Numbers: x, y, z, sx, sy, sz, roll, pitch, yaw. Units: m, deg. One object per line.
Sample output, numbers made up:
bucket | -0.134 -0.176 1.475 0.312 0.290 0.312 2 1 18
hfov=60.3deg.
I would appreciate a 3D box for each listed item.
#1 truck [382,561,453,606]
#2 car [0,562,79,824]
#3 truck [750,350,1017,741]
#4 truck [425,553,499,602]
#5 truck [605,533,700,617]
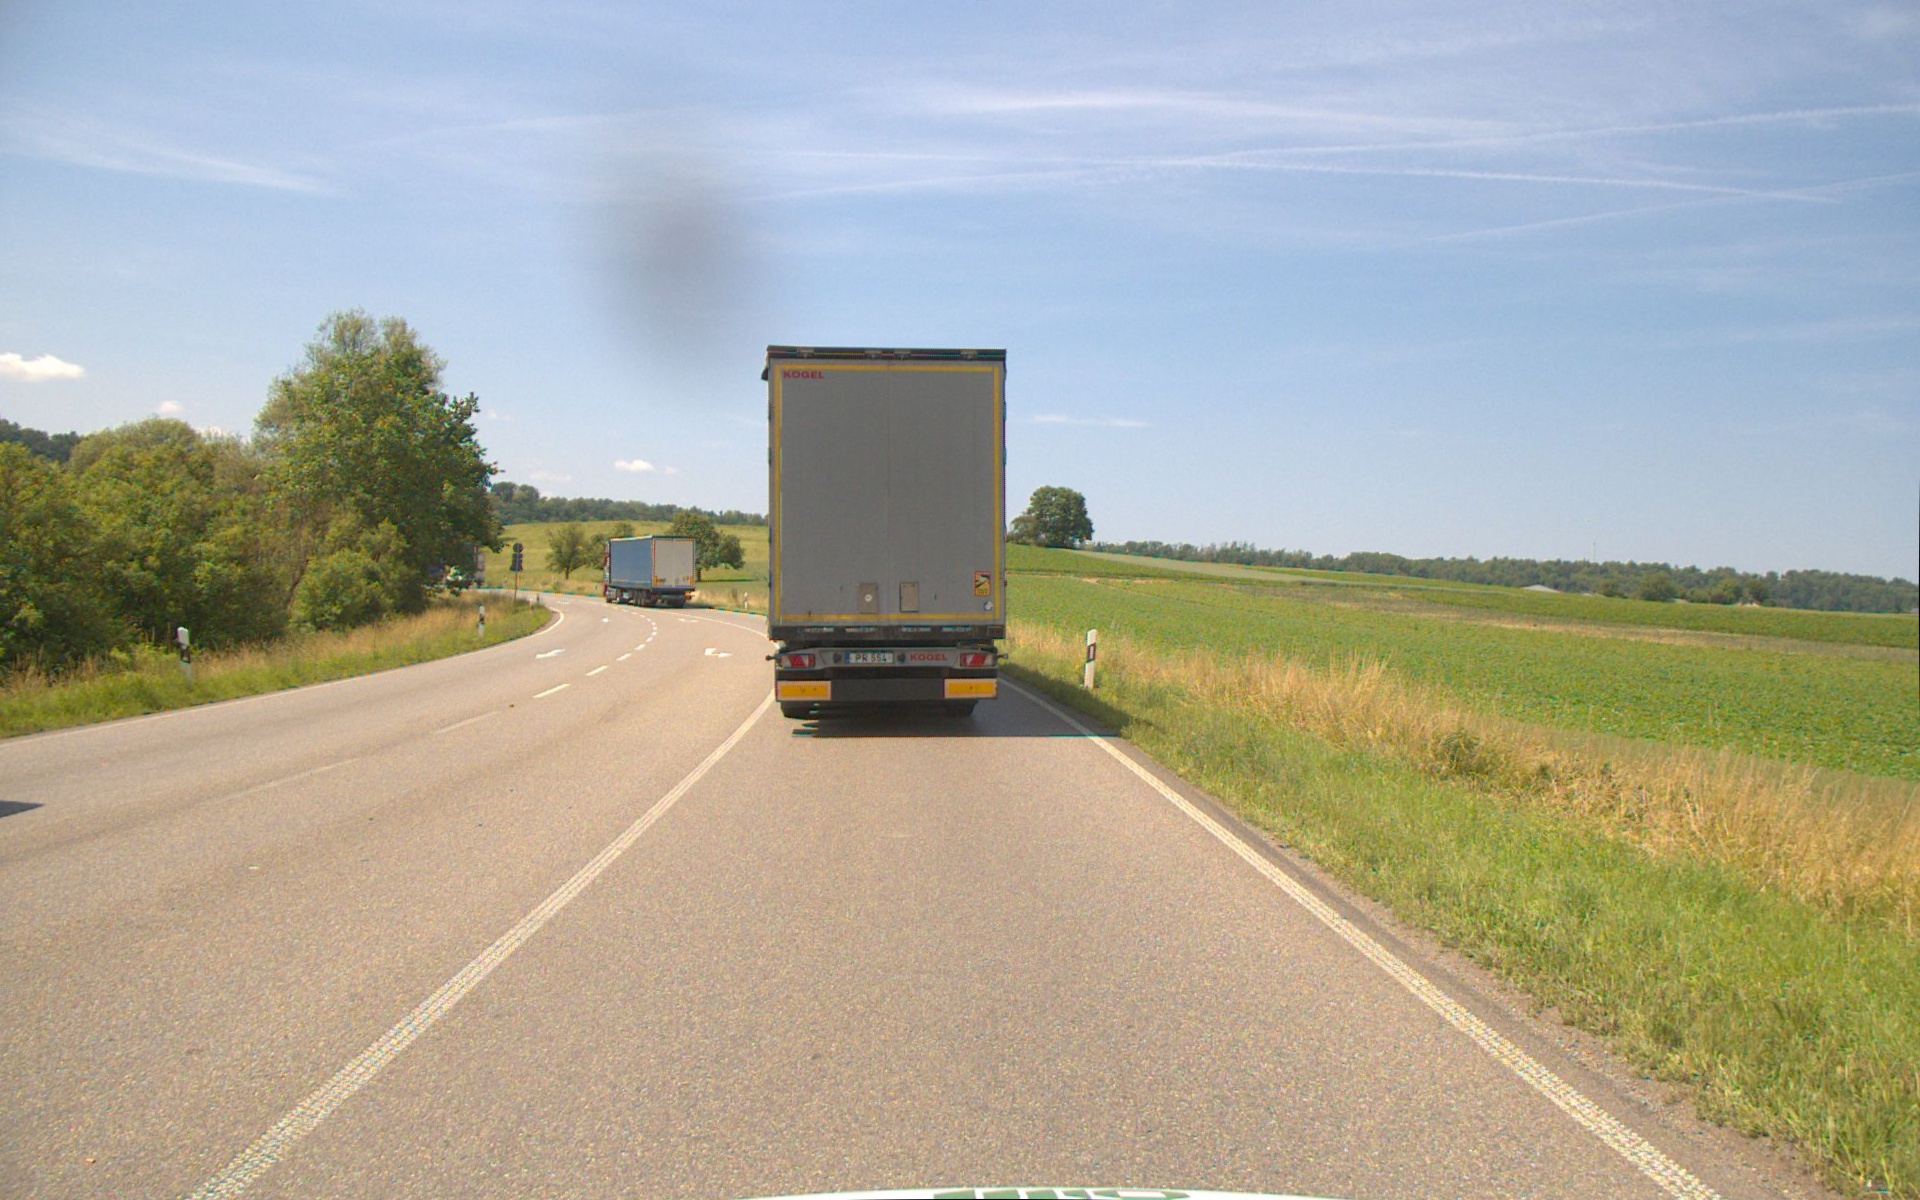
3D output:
truck | -56.198 -1.608 171.123 3.497 4.315 13.248 3 -2 -33
car | -7.398 0.593 9.816 1.951 1.725 4.002 0 -1 5
truck | -1.245 -0.580 21.871 2.754 4.015 9.579 0 0 -6
truck | -47.549 -2.059 157.489 3.600 4.202 12.960 3 -2 -31
truck | -19.052 -1.442 101.363 2.918 4.664 16.217 2 0 -20
